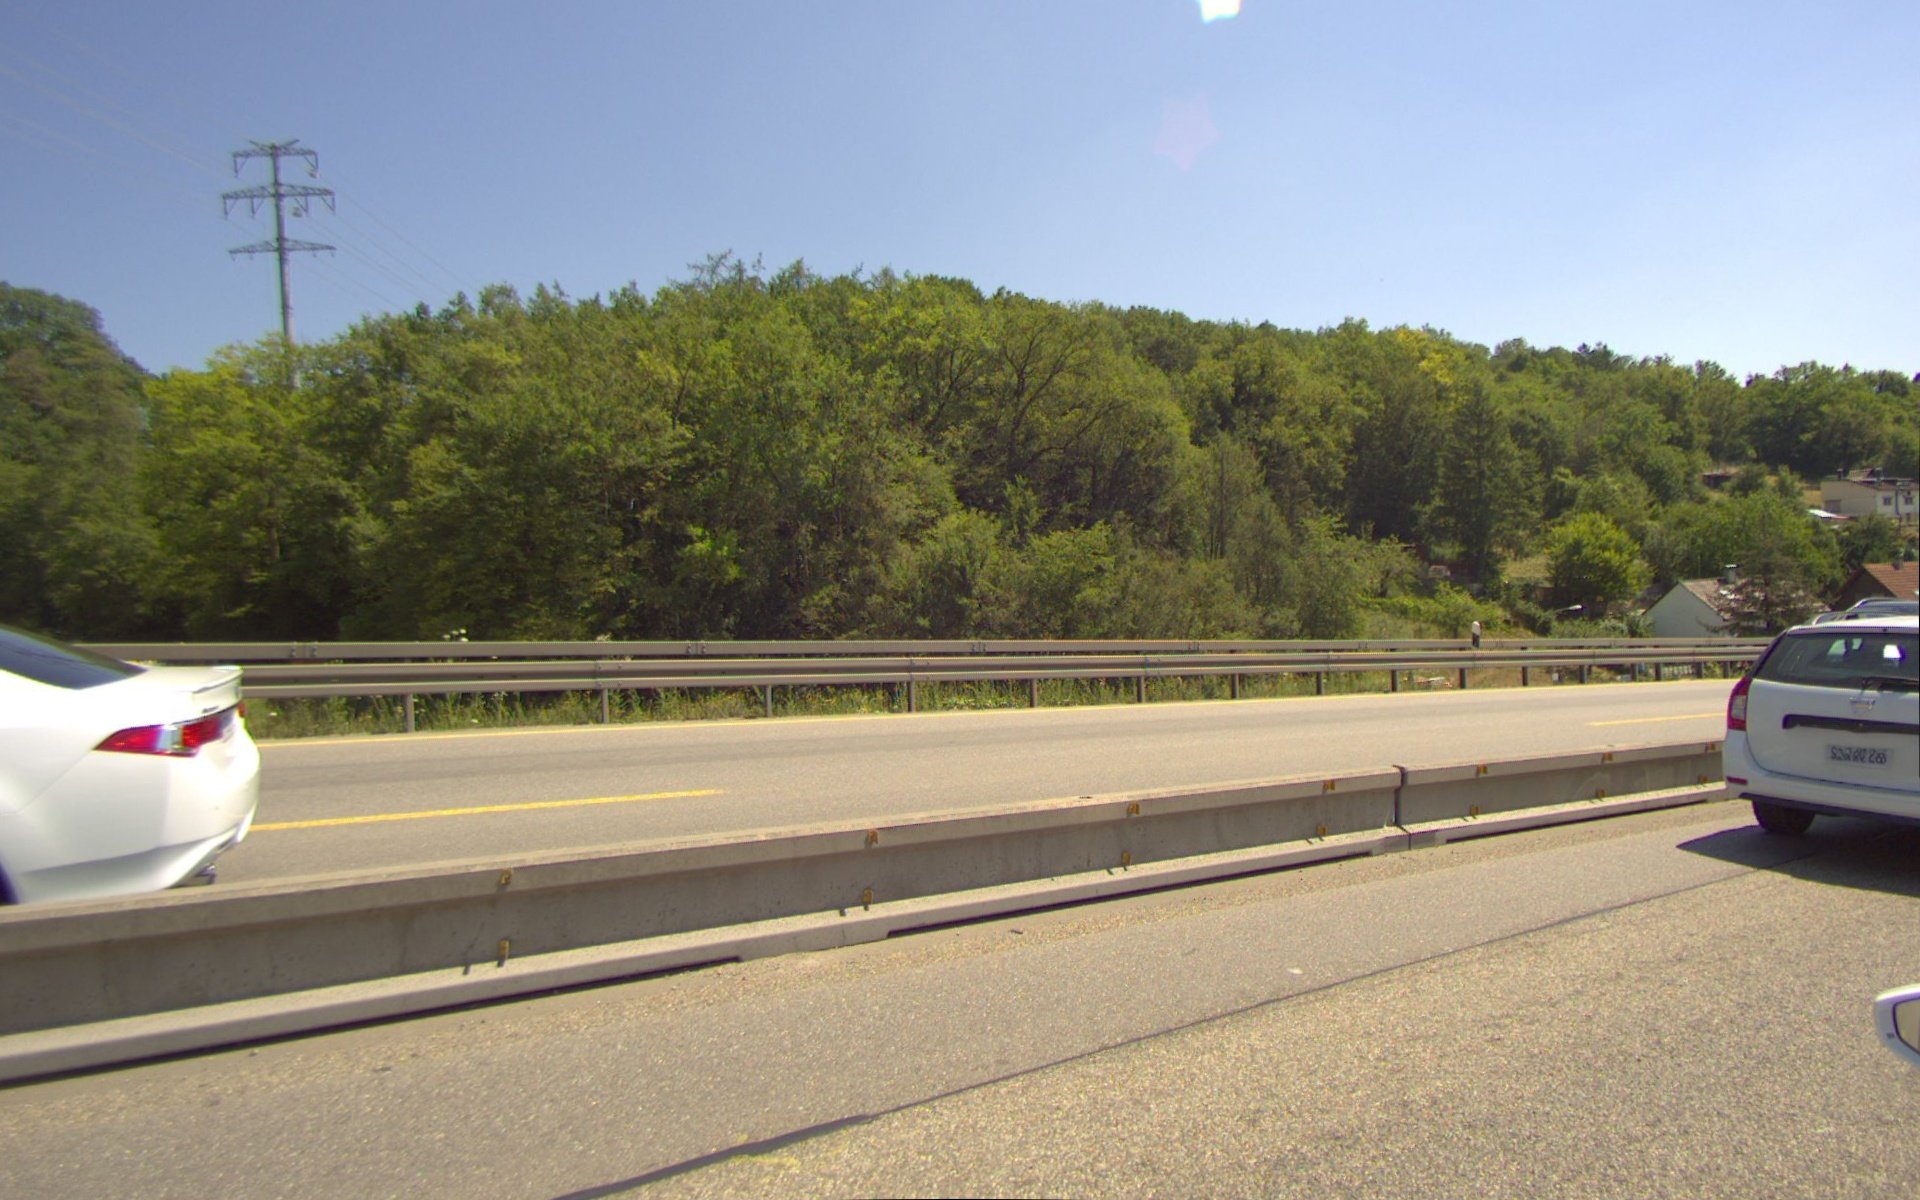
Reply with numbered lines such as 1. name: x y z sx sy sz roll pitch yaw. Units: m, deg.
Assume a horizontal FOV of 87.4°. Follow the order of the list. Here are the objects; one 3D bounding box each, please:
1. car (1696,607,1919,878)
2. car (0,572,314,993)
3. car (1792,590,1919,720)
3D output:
1. car: 7.044 0.855 6.850 4.214 1.503 1.645 2 -2 -29
2. car: -5.105 0.615 3.714 4.423 1.506 1.903 1 0 -30
3. car: 14.668 0.770 15.001 4.679 1.728 1.903 1 0 -30
